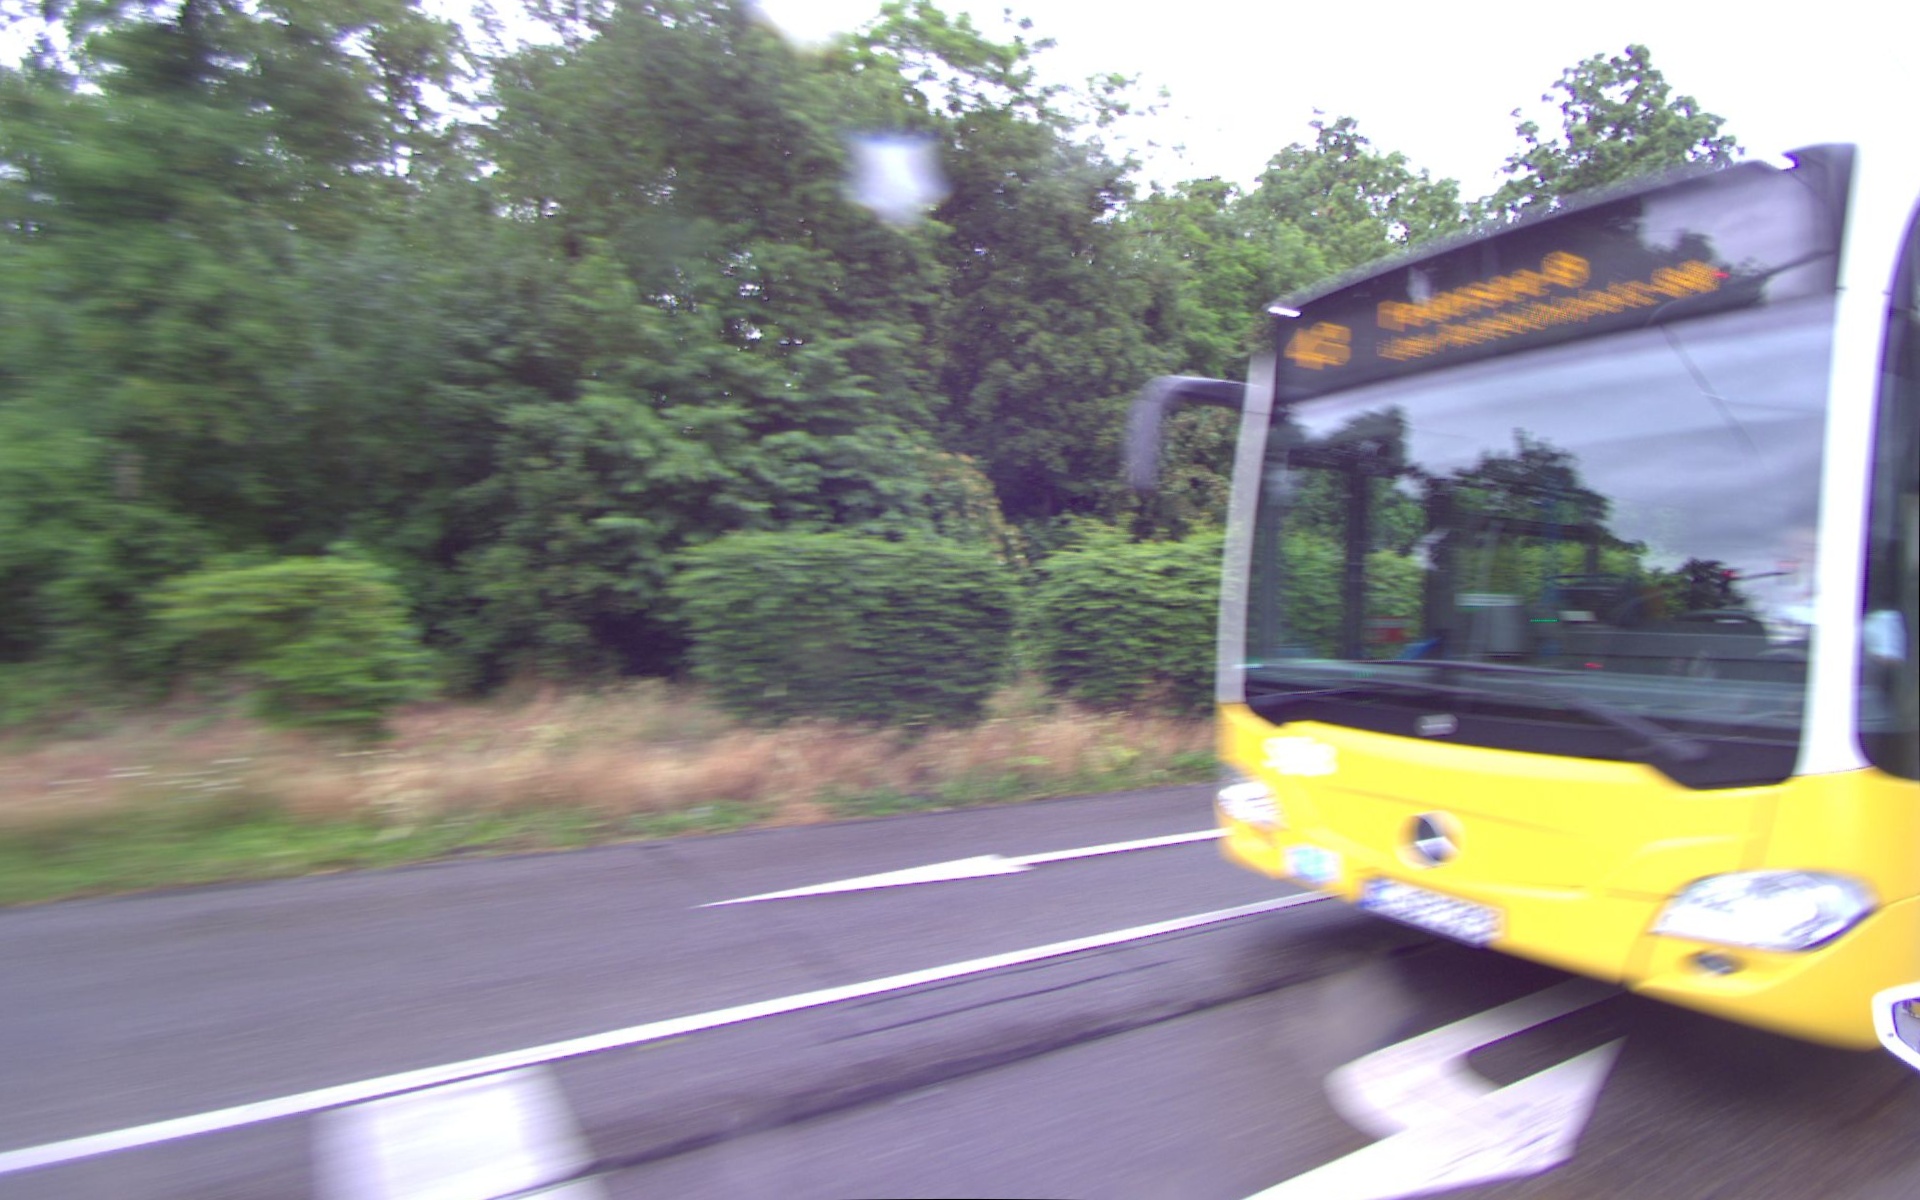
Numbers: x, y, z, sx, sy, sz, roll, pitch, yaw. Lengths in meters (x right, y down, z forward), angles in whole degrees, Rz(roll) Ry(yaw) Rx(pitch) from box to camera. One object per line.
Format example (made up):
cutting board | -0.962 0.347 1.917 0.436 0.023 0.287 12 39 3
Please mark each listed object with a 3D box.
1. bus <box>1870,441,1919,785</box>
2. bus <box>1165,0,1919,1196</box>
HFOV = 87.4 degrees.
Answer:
bus | 13.031 0.225 10.814 8.540 3.200 2.580 2 0 -32
bus | 5.542 0.069 6.105 9.128 3.085 2.629 2 0 -32
